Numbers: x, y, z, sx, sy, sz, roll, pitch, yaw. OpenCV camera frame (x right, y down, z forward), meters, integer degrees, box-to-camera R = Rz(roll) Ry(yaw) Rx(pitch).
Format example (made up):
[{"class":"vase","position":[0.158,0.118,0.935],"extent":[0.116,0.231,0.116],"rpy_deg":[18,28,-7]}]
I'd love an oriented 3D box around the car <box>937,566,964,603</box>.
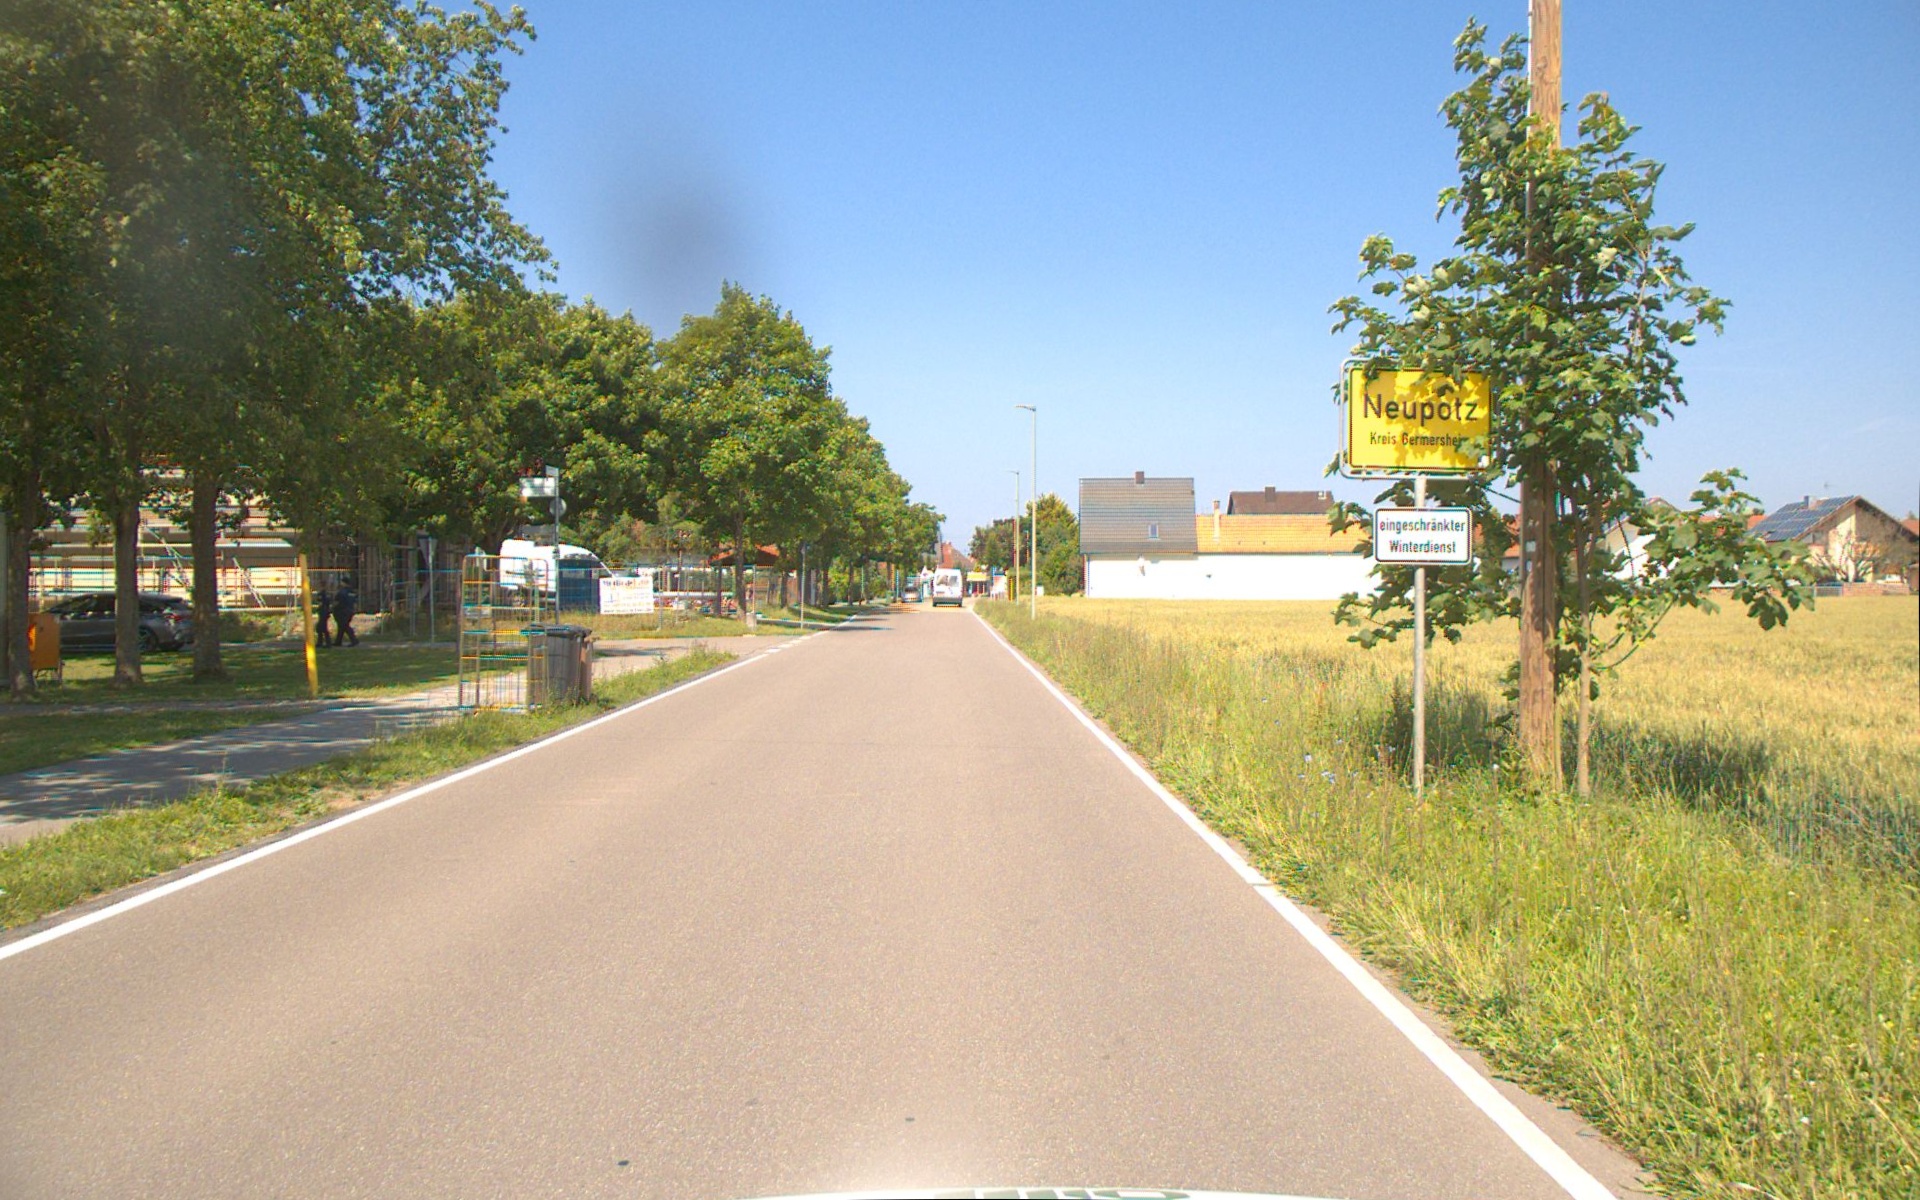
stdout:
[{"class":"car","position":[-0.626,-1.029,111.236],"extent":[1.702,2.474,4.374],"rpy_deg":[-1,0,0]}]

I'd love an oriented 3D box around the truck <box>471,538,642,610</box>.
[{"class":"truck","position":[-14.768,-0.914,60.735],"extent":[5.870,2.527,1.973],"rpy_deg":[0,0,-38]}]

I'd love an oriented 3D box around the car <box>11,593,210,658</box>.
[{"class":"car","position":[-19.836,0.577,38.750],"extent":[3.729,1.423,1.756],"rpy_deg":[-1,0,-8]}]

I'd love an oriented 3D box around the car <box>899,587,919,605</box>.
[{"class":"car","position":[-4.507,-0.347,145.810],"extent":[1.613,1.448,4.080],"rpy_deg":[-3,0,0]}]

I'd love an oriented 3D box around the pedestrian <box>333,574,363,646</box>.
[{"class":"pedestrian","position":[-15.354,0.244,41.513],"extent":[0.592,1.781,0.585],"rpy_deg":[-1,0,-10]}]

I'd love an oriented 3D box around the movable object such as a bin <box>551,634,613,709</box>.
[{"class":"movable object such as a bin","position":[-4.663,0.873,20.422],"extent":[0.550,0.892,0.614],"rpy_deg":[-1,0,7]}]

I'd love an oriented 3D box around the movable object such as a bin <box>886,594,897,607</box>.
[{"class":"movable object such as a bin","position":[-5.836,0.027,140.312],"extent":[0.699,1.097,0.639],"rpy_deg":[-1,0,27]}]

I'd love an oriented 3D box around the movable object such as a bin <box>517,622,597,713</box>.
[{"class":"movable object such as a bin","position":[-4.797,0.798,19.729],"extent":[0.684,1.042,0.748],"rpy_deg":[-1,0,7]}]

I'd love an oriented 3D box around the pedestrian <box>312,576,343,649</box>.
[{"class":"pedestrian","position":[-15.608,0.310,40.807],"extent":[0.592,1.781,0.585],"rpy_deg":[-1,0,-10]}]
